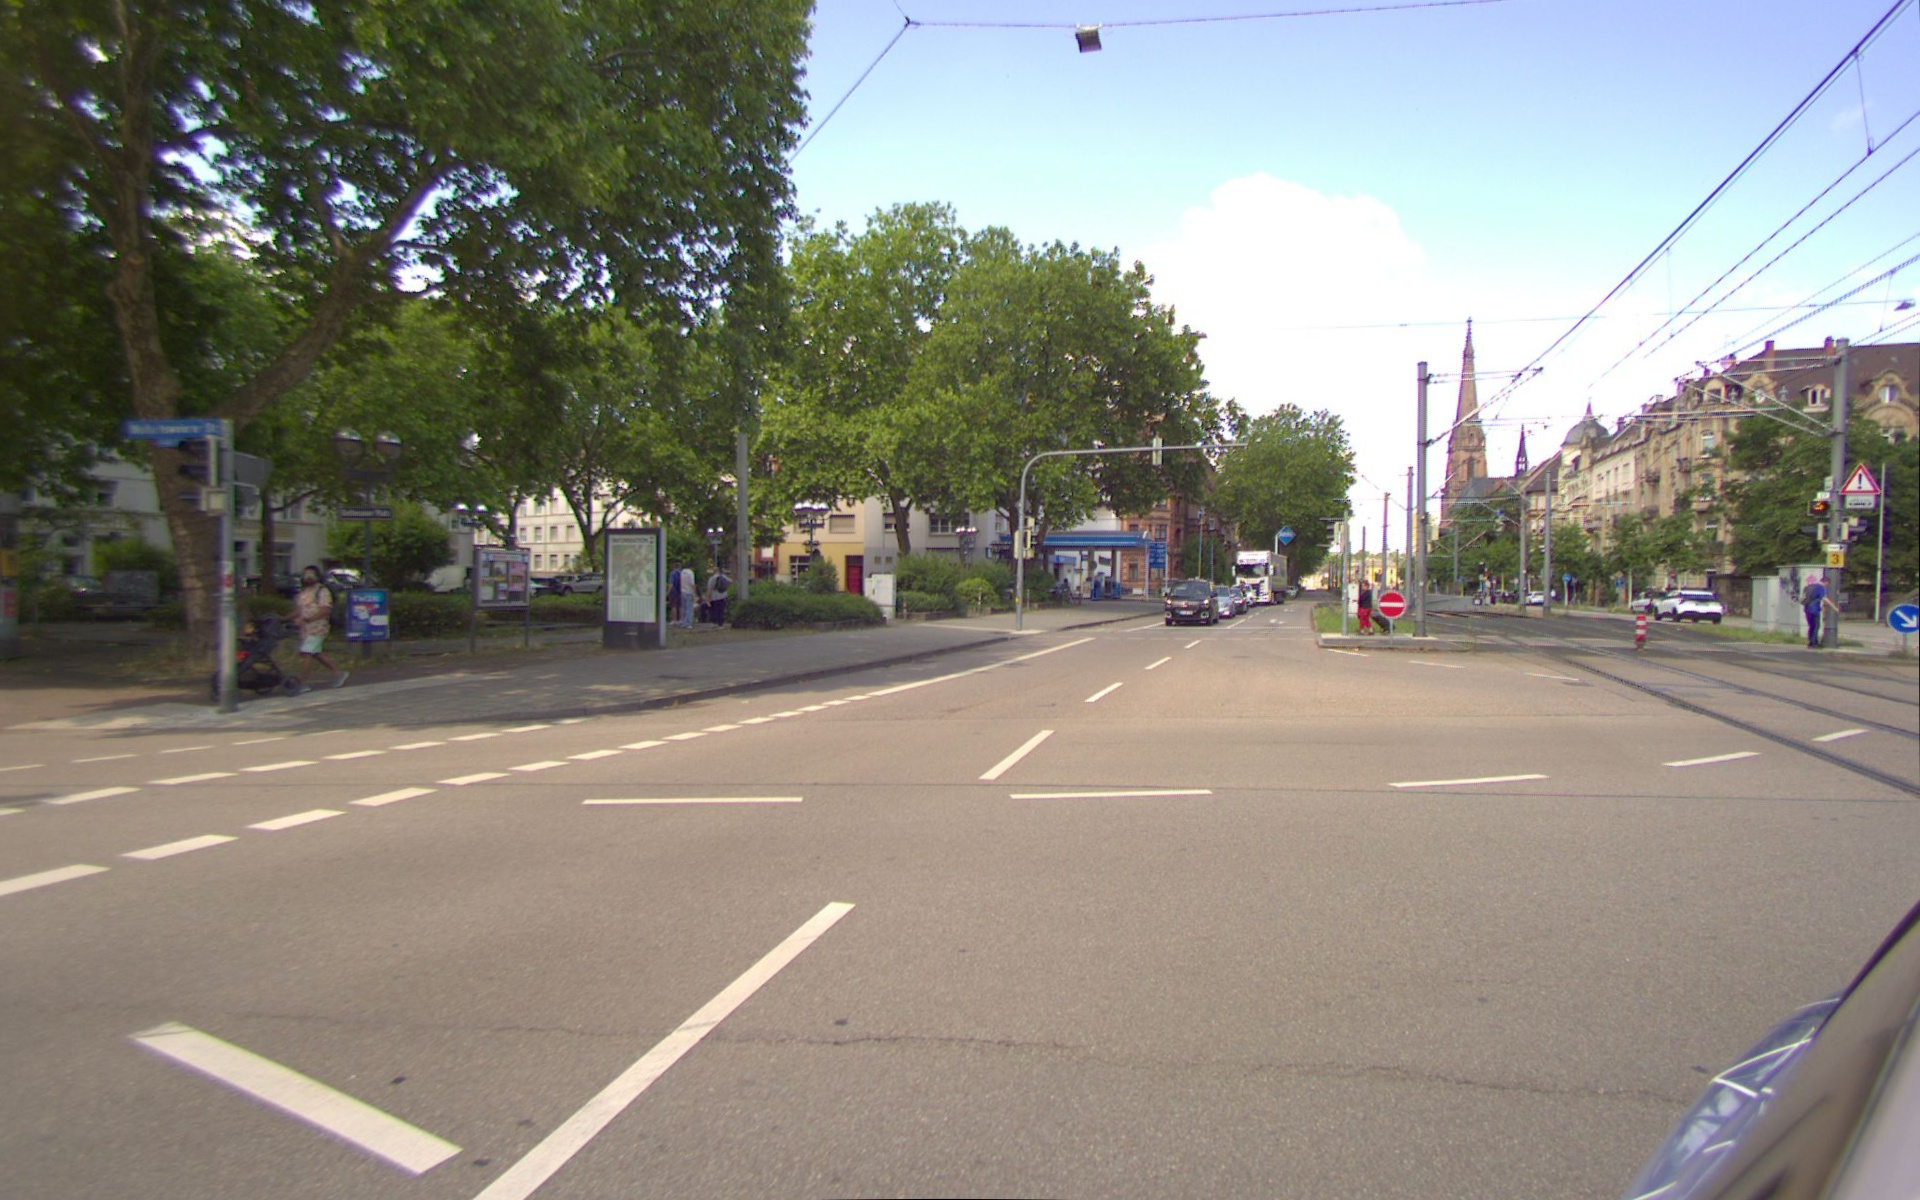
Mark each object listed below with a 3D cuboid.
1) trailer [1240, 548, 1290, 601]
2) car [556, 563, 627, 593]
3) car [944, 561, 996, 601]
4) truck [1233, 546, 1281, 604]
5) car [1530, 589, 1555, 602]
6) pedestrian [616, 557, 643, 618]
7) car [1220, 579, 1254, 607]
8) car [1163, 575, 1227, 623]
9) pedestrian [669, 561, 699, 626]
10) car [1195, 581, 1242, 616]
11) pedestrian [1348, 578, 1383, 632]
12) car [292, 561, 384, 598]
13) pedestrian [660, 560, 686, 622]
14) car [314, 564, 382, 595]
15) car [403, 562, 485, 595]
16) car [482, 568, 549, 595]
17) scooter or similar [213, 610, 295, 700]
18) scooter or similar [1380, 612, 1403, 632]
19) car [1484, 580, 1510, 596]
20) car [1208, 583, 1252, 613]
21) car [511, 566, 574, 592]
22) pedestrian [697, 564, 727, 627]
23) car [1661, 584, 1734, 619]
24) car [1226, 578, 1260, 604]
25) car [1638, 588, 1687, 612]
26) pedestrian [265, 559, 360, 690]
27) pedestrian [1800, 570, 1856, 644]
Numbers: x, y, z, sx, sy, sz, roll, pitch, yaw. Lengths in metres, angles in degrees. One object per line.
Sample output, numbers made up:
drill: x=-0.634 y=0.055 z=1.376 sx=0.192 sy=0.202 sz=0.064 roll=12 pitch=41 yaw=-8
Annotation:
trailer: x=25.287 y=-2.134 z=83.633 sx=2.884 sy=4.128 sz=11.567 roll=1 pitch=2 yaw=22
car: x=-22.777 y=-1.375 z=62.516 sx=3.953 sy=1.822 sz=1.856 roll=1 pitch=2 yaw=22
car: x=0.686 y=-1.259 z=65.205 sx=2.087 sy=2.450 sz=3.973 roll=1 pitch=2 yaw=21
truck: x=22.561 y=-1.940 z=76.672 sx=2.883 sy=4.200 sz=6.546 roll=1 pitch=2 yaw=21
car: x=58.524 y=-0.478 z=101.707 sx=1.635 sy=1.249 sz=3.043 roll=1 pitch=1 yaw=20
pedestrian: x=-9.821 y=-0.381 z=30.083 sx=0.594 sy=1.772 sz=0.699 roll=1 pitch=1 yaw=-4
car: x=16.432 y=-0.439 z=59.927 sx=1.665 sy=1.582 sz=3.728 roll=2 pitch=2 yaw=20
car: x=9.322 y=-0.076 z=39.921 sx=1.832 sy=1.748 sz=4.389 roll=2 pitch=2 yaw=21
pedestrian: x=-7.695 y=-0.198 z=28.235 sx=0.679 sy=1.786 sz=0.671 roll=1 pitch=1 yaw=-4
car: x=12.207 y=-0.105 z=47.634 sx=1.713 sy=1.484 sz=4.299 roll=2 pitch=2 yaw=20
pedestrian: x=11.520 y=0.131 z=28.779 sx=0.763 sy=1.510 sz=0.657 roll=0 pitch=1 yaw=8
car: x=-34.061 y=-1.149 z=55.440 sx=4.439 sy=1.929 sz=2.089 roll=1 pitch=2 yaw=22
pedestrian: x=-8.376 y=-0.269 z=29.529 sx=0.594 sy=1.772 sz=0.699 roll=1 pitch=1 yaw=-4
car: x=-40.715 y=-1.409 z=67.333 sx=3.953 sy=1.988 sz=1.986 roll=1 pitch=2 yaw=22
car: x=-31.511 y=-1.327 z=61.831 sx=4.439 sy=1.929 sz=2.089 roll=1 pitch=2 yaw=22
car: x=-29.330 y=-1.229 z=66.742 sx=3.953 sy=1.701 sz=1.841 roll=1 pitch=2 yaw=22
scooter or similar: x=-8.920 y=0.679 z=12.793 sx=0.485 sy=1.069 sz=0.703 roll=1 pitch=1 yaw=21
scooter or similar: x=12.278 y=0.630 z=28.824 sx=0.513 sy=0.542 sz=0.310 roll=3 pitch=1 yaw=8
car: x=54.435 y=-1.192 z=102.610 sx=1.763 sy=1.553 sz=4.357 roll=1 pitch=2 yaw=20
car: x=14.563 y=-0.144 z=54.448 sx=1.832 sy=1.464 sz=3.947 roll=2 pitch=2 yaw=21
car: x=-28.532 y=-1.460 z=69.140 sx=3.953 sy=1.682 sz=1.741 roll=1 pitch=2 yaw=22
pedestrian: x=-6.923 y=-0.136 z=28.324 sx=0.679 sy=1.744 sz=0.720 roll=1 pitch=1 yaw=-4
car: x=34.805 y=0.034 z=47.855 sx=1.799 sy=1.525 sz=4.101 roll=1 pitch=1 yaw=22
car: x=19.497 y=-0.633 z=69.598 sx=1.832 sy=1.726 sz=4.106 roll=2 pitch=2 yaw=21
car: x=46.832 y=-0.013 z=67.525 sx=1.767 sy=1.514 sz=3.812 roll=1 pitch=1 yaw=20
pedestrian: x=-8.615 y=0.303 z=13.480 sx=0.563 sy=1.666 sz=0.916 roll=1 pitch=1 yaw=21
pedestrian: x=21.097 y=0.145 z=24.618 sx=0.762 sy=1.752 sz=0.739 roll=1 pitch=1 yaw=20
